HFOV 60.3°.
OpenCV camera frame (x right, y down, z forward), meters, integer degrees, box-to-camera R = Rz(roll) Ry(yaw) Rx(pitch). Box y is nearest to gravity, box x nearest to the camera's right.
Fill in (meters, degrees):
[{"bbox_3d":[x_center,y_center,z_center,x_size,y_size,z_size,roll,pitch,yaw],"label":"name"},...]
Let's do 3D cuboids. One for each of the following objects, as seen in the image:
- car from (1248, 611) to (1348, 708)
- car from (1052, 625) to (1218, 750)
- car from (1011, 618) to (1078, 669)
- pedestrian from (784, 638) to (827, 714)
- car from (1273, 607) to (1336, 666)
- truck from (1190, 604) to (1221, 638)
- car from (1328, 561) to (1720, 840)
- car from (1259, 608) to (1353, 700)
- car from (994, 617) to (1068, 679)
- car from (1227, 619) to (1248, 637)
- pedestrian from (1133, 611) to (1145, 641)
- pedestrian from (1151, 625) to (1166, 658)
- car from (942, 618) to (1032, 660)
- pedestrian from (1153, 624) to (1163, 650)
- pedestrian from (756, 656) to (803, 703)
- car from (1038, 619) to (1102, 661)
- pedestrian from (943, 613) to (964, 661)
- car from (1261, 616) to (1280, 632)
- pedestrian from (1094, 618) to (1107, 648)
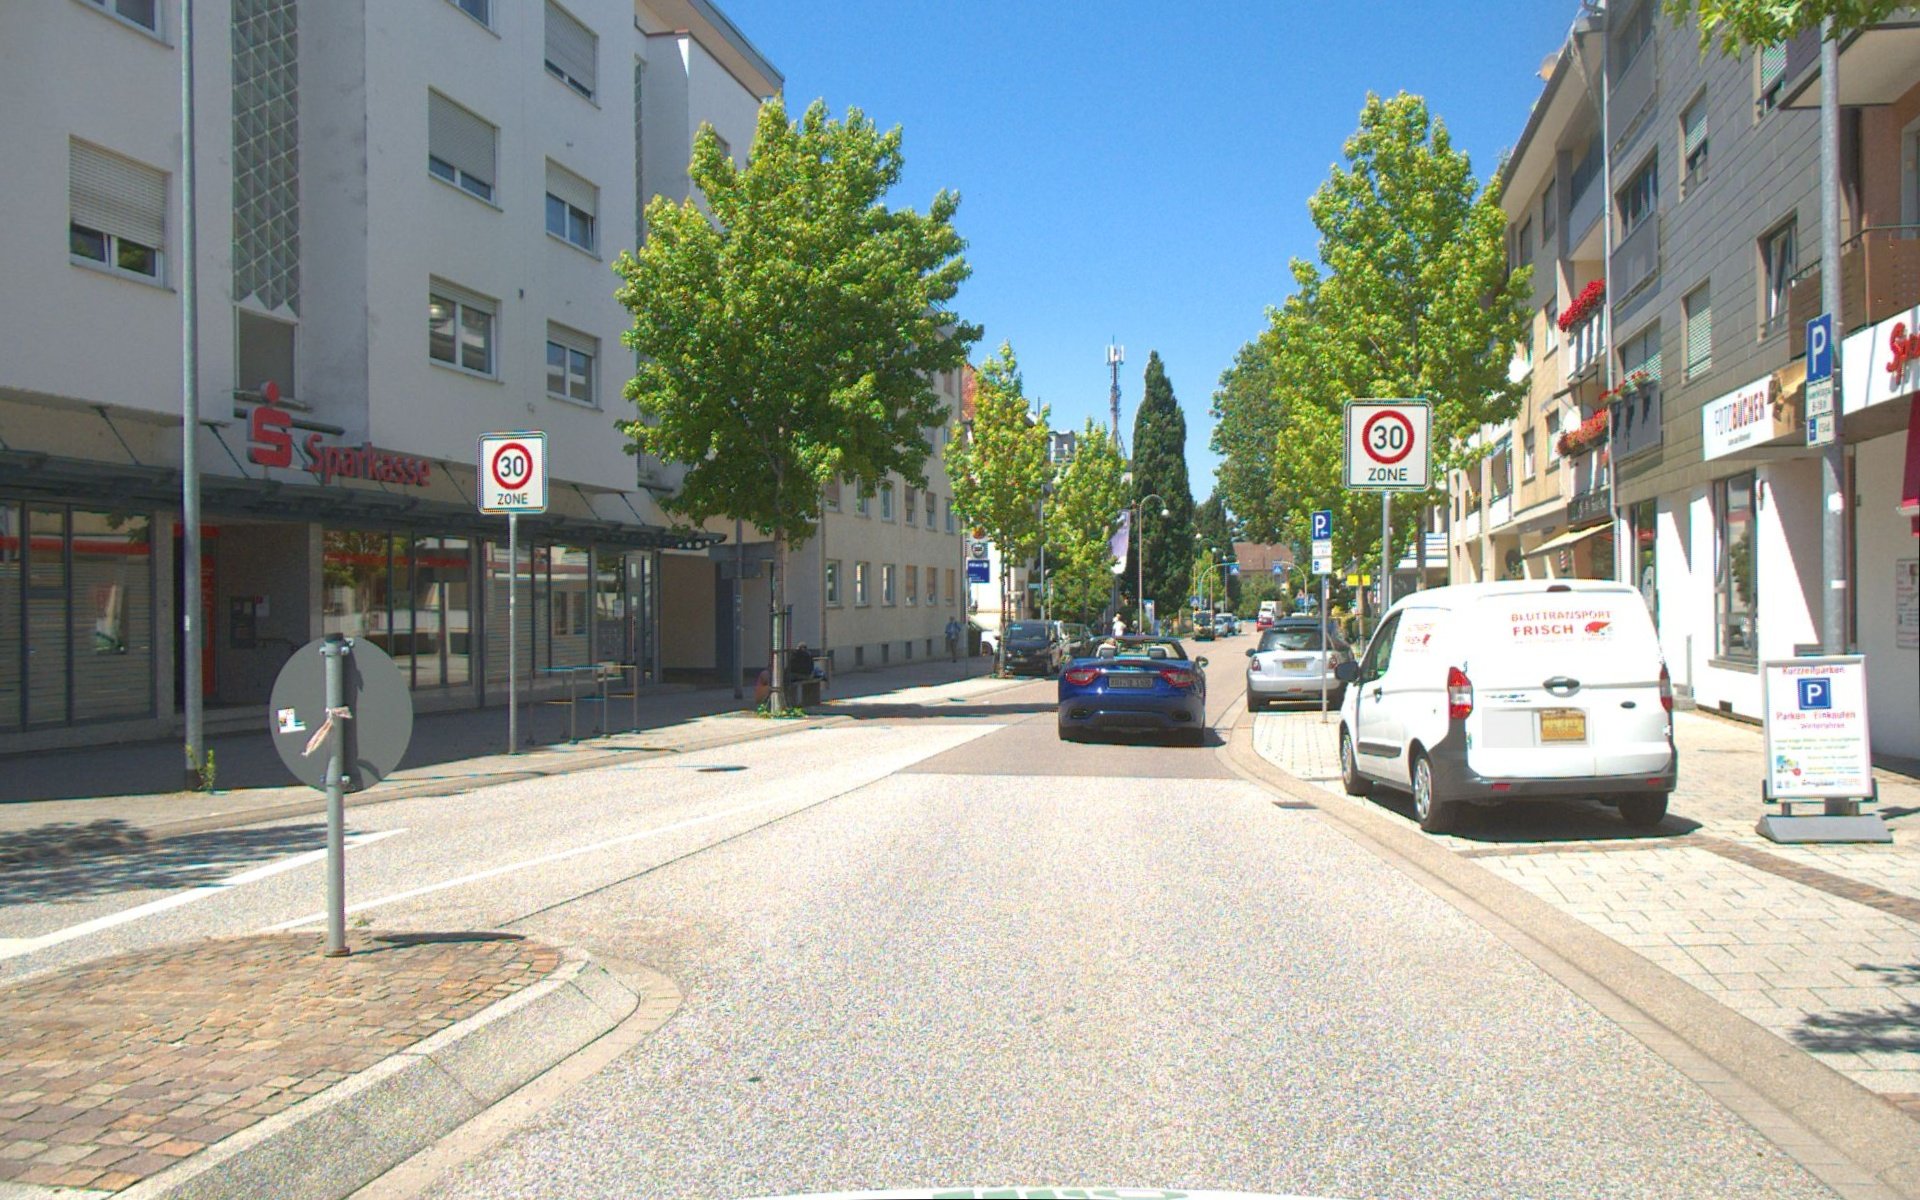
[{"bbox_3d":[6.027,1.013,29.508,1.588,1.586,3.843,-1,-1,12],"label":"car"},{"bbox_3d":[2.234,1.067,21.976,1.935,1.423,4.629,1,-1,4],"label":"car"},{"bbox_3d":[2.998,1.488,57.739,1.785,1.648,4.396,1,0,10],"label":"car"},{"bbox_3d":[-2.898,1.419,31.090,0.556,1.396,0.667,-2,-2,21],"label":"pedestrian"},{"bbox_3d":[12.079,1.236,57.797,1.951,1.830,4.573,-2,1,13],"label":"car"},{"bbox_3d":[16.725,1.386,112.591,1.766,2.154,4.719,-2,0,12],"label":"truck"},{"bbox_3d":[4.124,0.683,12.783,1.711,1.754,3.911,-2,-1,2],"label":"car"},{"bbox_3d":[7.167,1.069,34.285,1.726,1.735,4.709,-2,-1,12],"label":"car"},{"bbox_3d":[2.275,1.464,51.964,1.692,1.771,4.396,2,0,10],"label":"car"},{"bbox_3d":[25.284,2.556,150.858,1.732,1.502,4.141,-2,-1,11],"label":"car"},{"bbox_3d":[9.059,1.323,83.766,0.567,1.500,0.565,-1,-1,11],"label":"pedestrian"},{"bbox_3d":[12.127,2.527,100.976,0.831,1.949,0.762,-2,1,10],"label":"pedestrian"},{"bbox_3d":[1.279,1.826,77.501,3.973,1.855,1.761,1,0,10],"label":"car"},{"bbox_3d":[12.102,2.260,101.012,0.574,1.602,0.782,-1,-1,11],"label":"pedestrian"},{"bbox_3d":[-3.514,1.554,32.202,0.651,0.873,0.732,-2,-5,21],"label":"pedestrian"},{"bbox_3d":[4.285,1.513,63.814,1.717,1.500,4.324,1,0,14],"label":"car"},{"bbox_3d":[-0.253,1.375,61.507,0.643,1.709,0.630,-3,1,-6],"label":"pedestrian"},{"bbox_3d":[29.573,2.333,157.649,1.732,1.502,4.140,-1,-1,11],"label":"car"},{"bbox_3d":[6.981,1.628,81.980,0.567,1.500,0.565,-1,-1,11],"label":"pedestrian"}]
